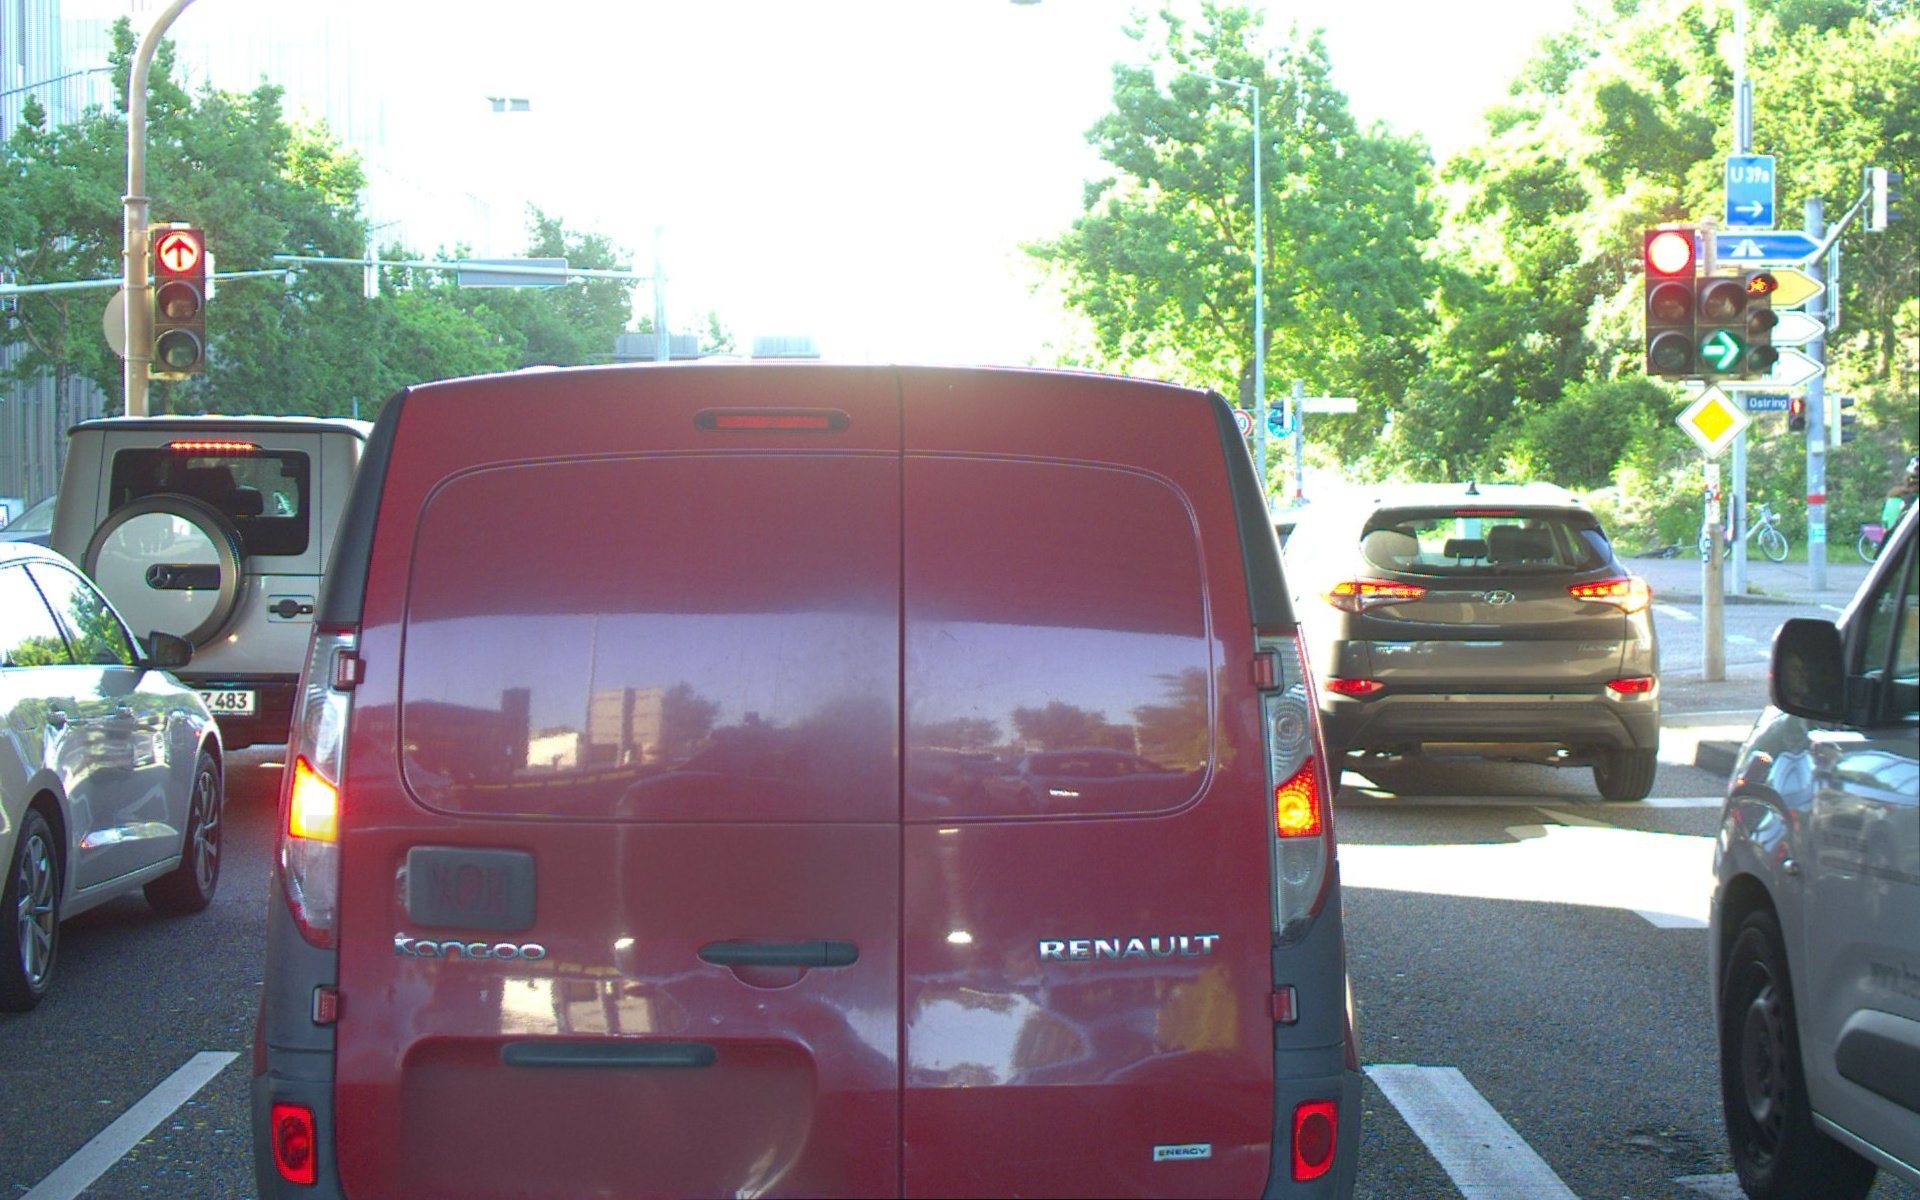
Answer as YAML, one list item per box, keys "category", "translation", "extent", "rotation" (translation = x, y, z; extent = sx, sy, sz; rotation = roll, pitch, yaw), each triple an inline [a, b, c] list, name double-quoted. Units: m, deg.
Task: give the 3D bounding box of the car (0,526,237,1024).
- category: "car"
  translation: [-3.618, 0.454, 11.504]
  extent: [1.692, 1.405, 3.814]
  rotation: [1, 1, -2]

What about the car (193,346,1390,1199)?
- category: "car"
  translation: [-0.271, 0.482, 6.988]
  extent: [1.719, 1.758, 4.000]
  rotation: [1, 1, -1]

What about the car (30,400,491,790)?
- category: "car"
  translation: [-3.708, -0.063, 18.854]
  extent: [1.813, 1.897, 3.814]
  rotation: [1, 1, -1]

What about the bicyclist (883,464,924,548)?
- category: "bicyclist"
  translation: [-1.044, -1.739, 63.808]
  extent: [0.755, 1.537, 0.697]
  rotation: [0, 1, 0]

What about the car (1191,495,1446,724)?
- category: "car"
  translation: [2.625, 0.006, 25.882]
  extent: [1.652, 1.546, 3.864]
  rotation: [1, 2, 3]

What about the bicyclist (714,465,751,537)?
- category: "bicyclist"
  translation: [-4.255, -1.843, 64.306]
  extent: [0.652, 1.325, 0.603]
  rotation: [1, 1, -4]

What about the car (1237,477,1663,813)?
- category: "car"
  translation: [2.575, 0.170, 18.928]
  extent: [1.778, 1.650, 3.990]
  rotation: [0, 1, 0]

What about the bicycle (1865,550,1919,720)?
- category: "bicycle"
  translation: [6.091, 0.211, 21.524]
  extent: [0.677, 1.020, 1.528]
  rotation: [1, 1, 10]

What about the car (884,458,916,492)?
- category: "car"
  translation: [-3.870, -8.012, 220.646]
  extent: [1.993, 2.007, 4.000]
  rotation: [1, 1, -1]

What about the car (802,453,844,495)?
- category: "car"
  translation: [-7.110, -6.533, 178.756]
  extent: [1.993, 2.007, 4.000]
  rotation: [1, 1, -1]

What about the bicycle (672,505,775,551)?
- category: "bicycle"
  translation: [-4.429, -1.344, 64.283]
  extent: [1.912, 0.864, 0.605]
  rotation: [0, 1, -4]

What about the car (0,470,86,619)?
- category: "car"
  translation: [-11.826, -0.629, 36.888]
  extent: [1.998, 1.602, 4.350]
  rotation: [2, 1, 42]

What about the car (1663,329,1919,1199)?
- category: "car"
  translation: [2.631, 0.452, 5.807]
  extent: [1.813, 1.827, 4.301]
  rotation: [1, 2, -2]

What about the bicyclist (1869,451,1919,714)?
- category: "bicyclist"
  translation: [6.106, -0.108, 21.611]
  extent: [0.677, 1.623, 0.644]
  rotation: [1, 0, 10]
